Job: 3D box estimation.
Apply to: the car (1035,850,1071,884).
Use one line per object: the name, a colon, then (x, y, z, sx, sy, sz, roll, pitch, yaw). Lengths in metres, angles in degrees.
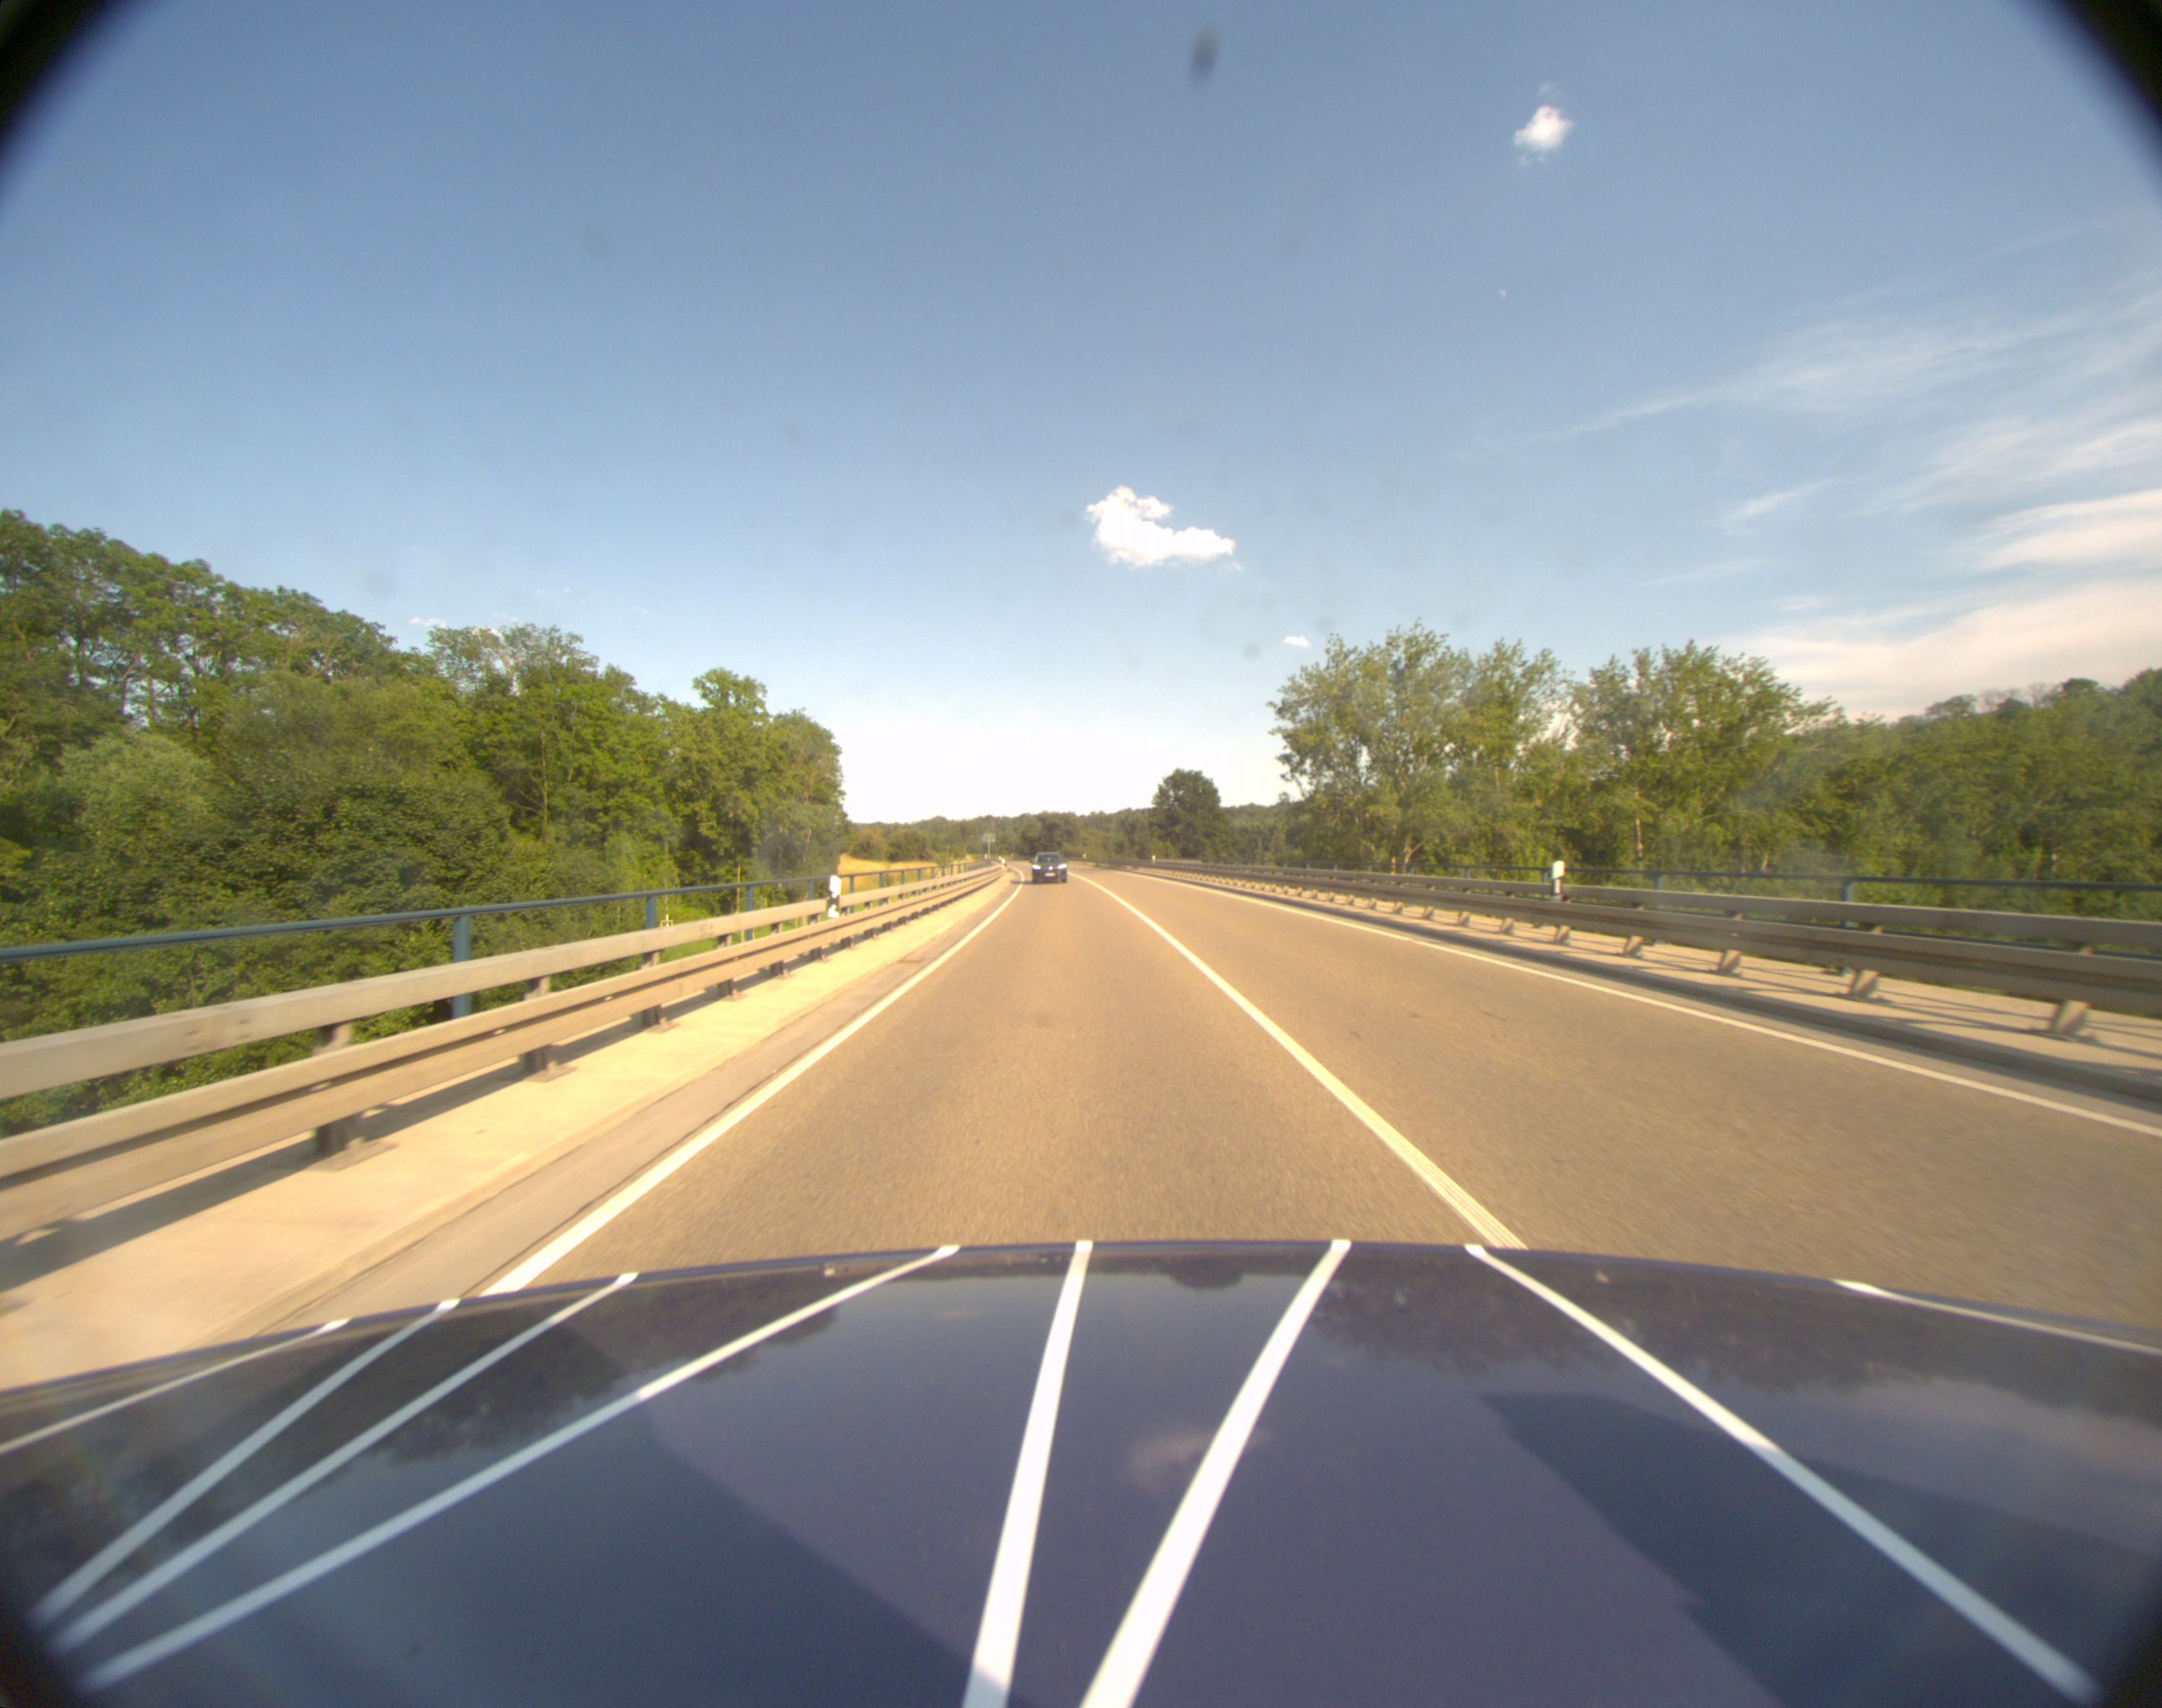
car: (-1.573, 0.657, 40.968, 1.751, 1.645, 4.304, -1, 1, -4)
